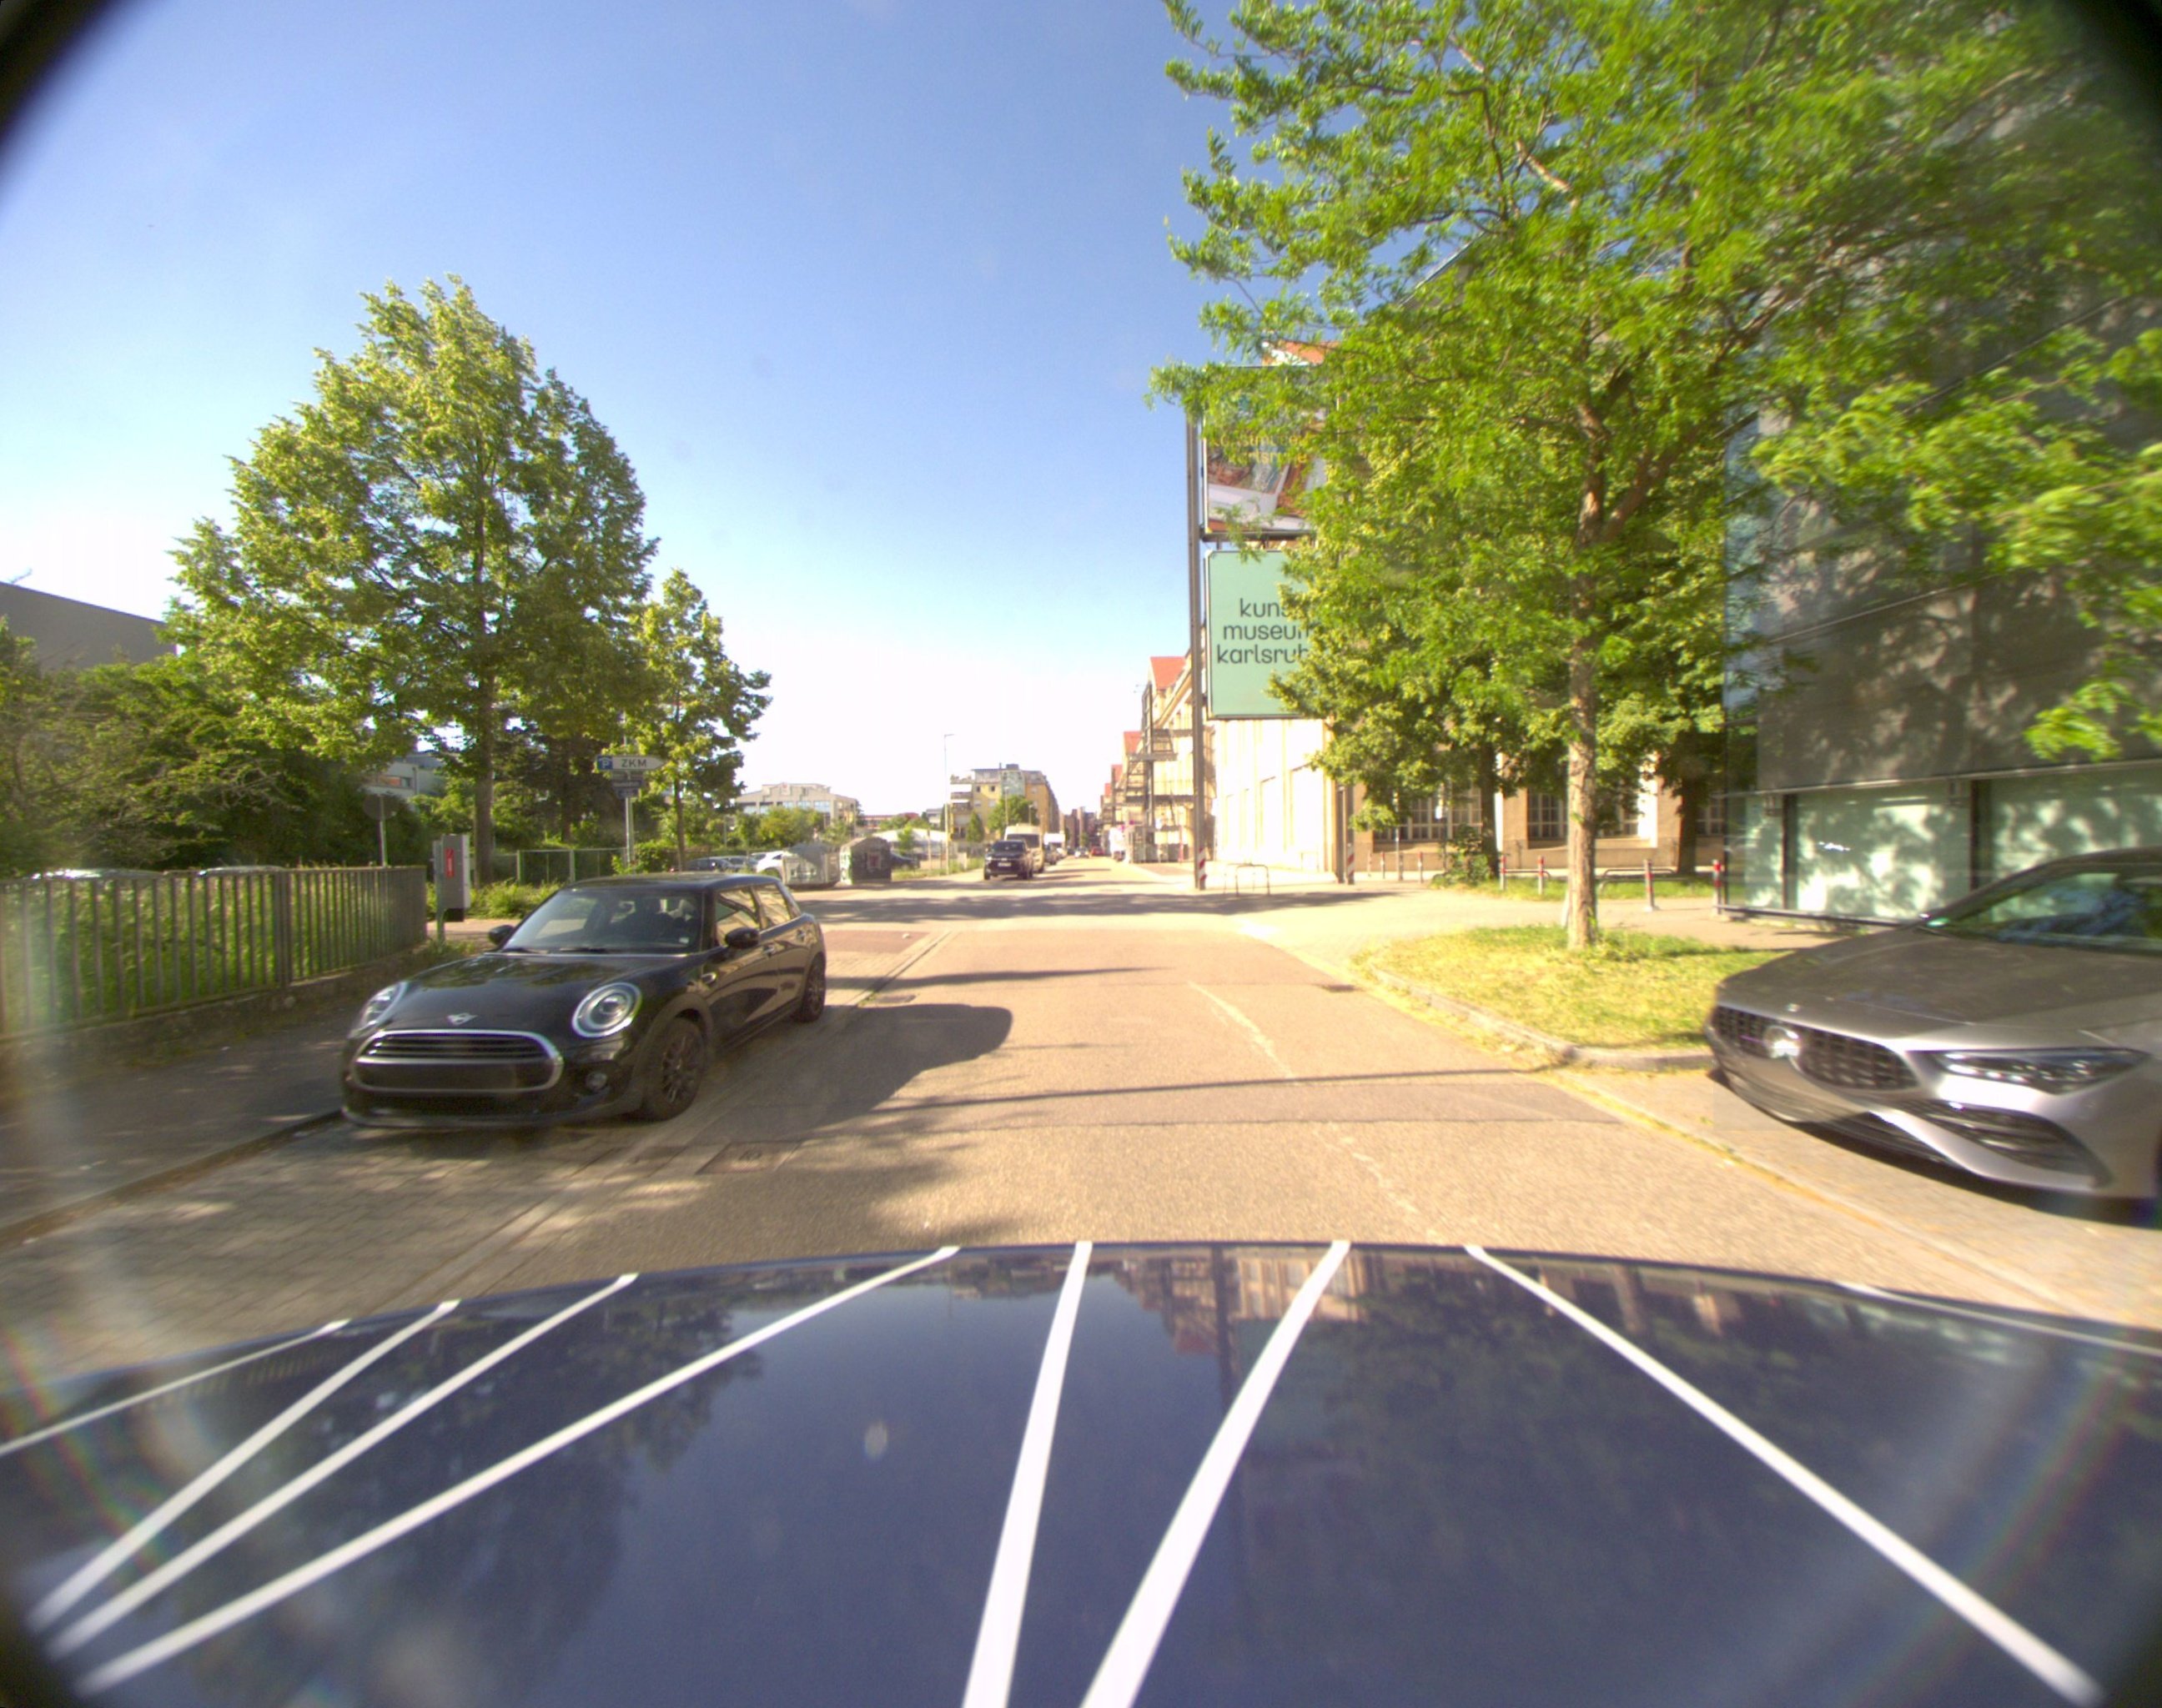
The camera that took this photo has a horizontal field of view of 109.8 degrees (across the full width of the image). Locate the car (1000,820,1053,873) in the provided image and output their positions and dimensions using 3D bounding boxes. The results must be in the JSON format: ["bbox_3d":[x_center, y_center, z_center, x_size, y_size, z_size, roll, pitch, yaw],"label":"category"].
[{"bbox_3d":[-2.796,-0.407,40.591,2.163,2.582,6.283,-2,1,1],"label":"car"}]

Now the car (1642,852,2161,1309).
[{"bbox_3d":[5.599,0.726,3.532,4.546,1.343,1.892,-4,1,0],"label":"car"}]

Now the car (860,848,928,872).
[{"bbox_3d":[-13.136,0.380,53.638,4.239,1.551,1.897,-1,1,3],"label":"car"}]

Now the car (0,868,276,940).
[{"bbox_3d":[-21.159,1.081,16.999,4.420,1.414,1.752,-1,2,1],"label":"car"}]

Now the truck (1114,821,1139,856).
[{"bbox_3d":[4.669,-1.602,78.943,2.498,3.412,7.127,-1,1,3],"label":"truck"}]

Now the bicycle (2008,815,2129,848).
[{"bbox_3d":[36.557,-0.804,28.208,0.718,1.144,2.808,-2,1,-4],"label":"bicycle"}]

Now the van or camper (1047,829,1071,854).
[{"bbox_3d":[-2.590,-1.530,91.601,2.722,2.841,5.132,-1,1,-1],"label":"van or camper"}]

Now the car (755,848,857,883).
[{"bbox_3d":[-13.969,0.559,38.742,4.422,1.600,2.000,-1,1,3],"label":"car"}]

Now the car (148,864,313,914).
[{"bbox_3d":[-29.015,1.166,26.013,3.544,1.466,1.722,-1,3,-2],"label":"car"}]

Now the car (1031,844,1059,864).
[{"bbox_3d":[-2.737,-0.053,59.013,1.850,1.417,4.224,-2,1,1],"label":"car"}]

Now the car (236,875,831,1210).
[{"bbox_3d":[-3.271,0.975,5.582,1.656,1.464,3.763,0,1,-1],"label":"car"}]

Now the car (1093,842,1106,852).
[{"bbox_3d":[2.781,-1.052,112.142,1.760,1.440,4.000,-1,1,2],"label":"car"}]

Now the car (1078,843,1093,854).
[{"bbox_3d":[0.588,-0.753,97.912,1.850,1.417,4.224,-1,1,1],"label":"car"}]

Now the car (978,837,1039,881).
[{"bbox_3d":[-2.982,0.159,31.989,1.998,1.686,4.103,-1,1,2],"label":"car"}]
